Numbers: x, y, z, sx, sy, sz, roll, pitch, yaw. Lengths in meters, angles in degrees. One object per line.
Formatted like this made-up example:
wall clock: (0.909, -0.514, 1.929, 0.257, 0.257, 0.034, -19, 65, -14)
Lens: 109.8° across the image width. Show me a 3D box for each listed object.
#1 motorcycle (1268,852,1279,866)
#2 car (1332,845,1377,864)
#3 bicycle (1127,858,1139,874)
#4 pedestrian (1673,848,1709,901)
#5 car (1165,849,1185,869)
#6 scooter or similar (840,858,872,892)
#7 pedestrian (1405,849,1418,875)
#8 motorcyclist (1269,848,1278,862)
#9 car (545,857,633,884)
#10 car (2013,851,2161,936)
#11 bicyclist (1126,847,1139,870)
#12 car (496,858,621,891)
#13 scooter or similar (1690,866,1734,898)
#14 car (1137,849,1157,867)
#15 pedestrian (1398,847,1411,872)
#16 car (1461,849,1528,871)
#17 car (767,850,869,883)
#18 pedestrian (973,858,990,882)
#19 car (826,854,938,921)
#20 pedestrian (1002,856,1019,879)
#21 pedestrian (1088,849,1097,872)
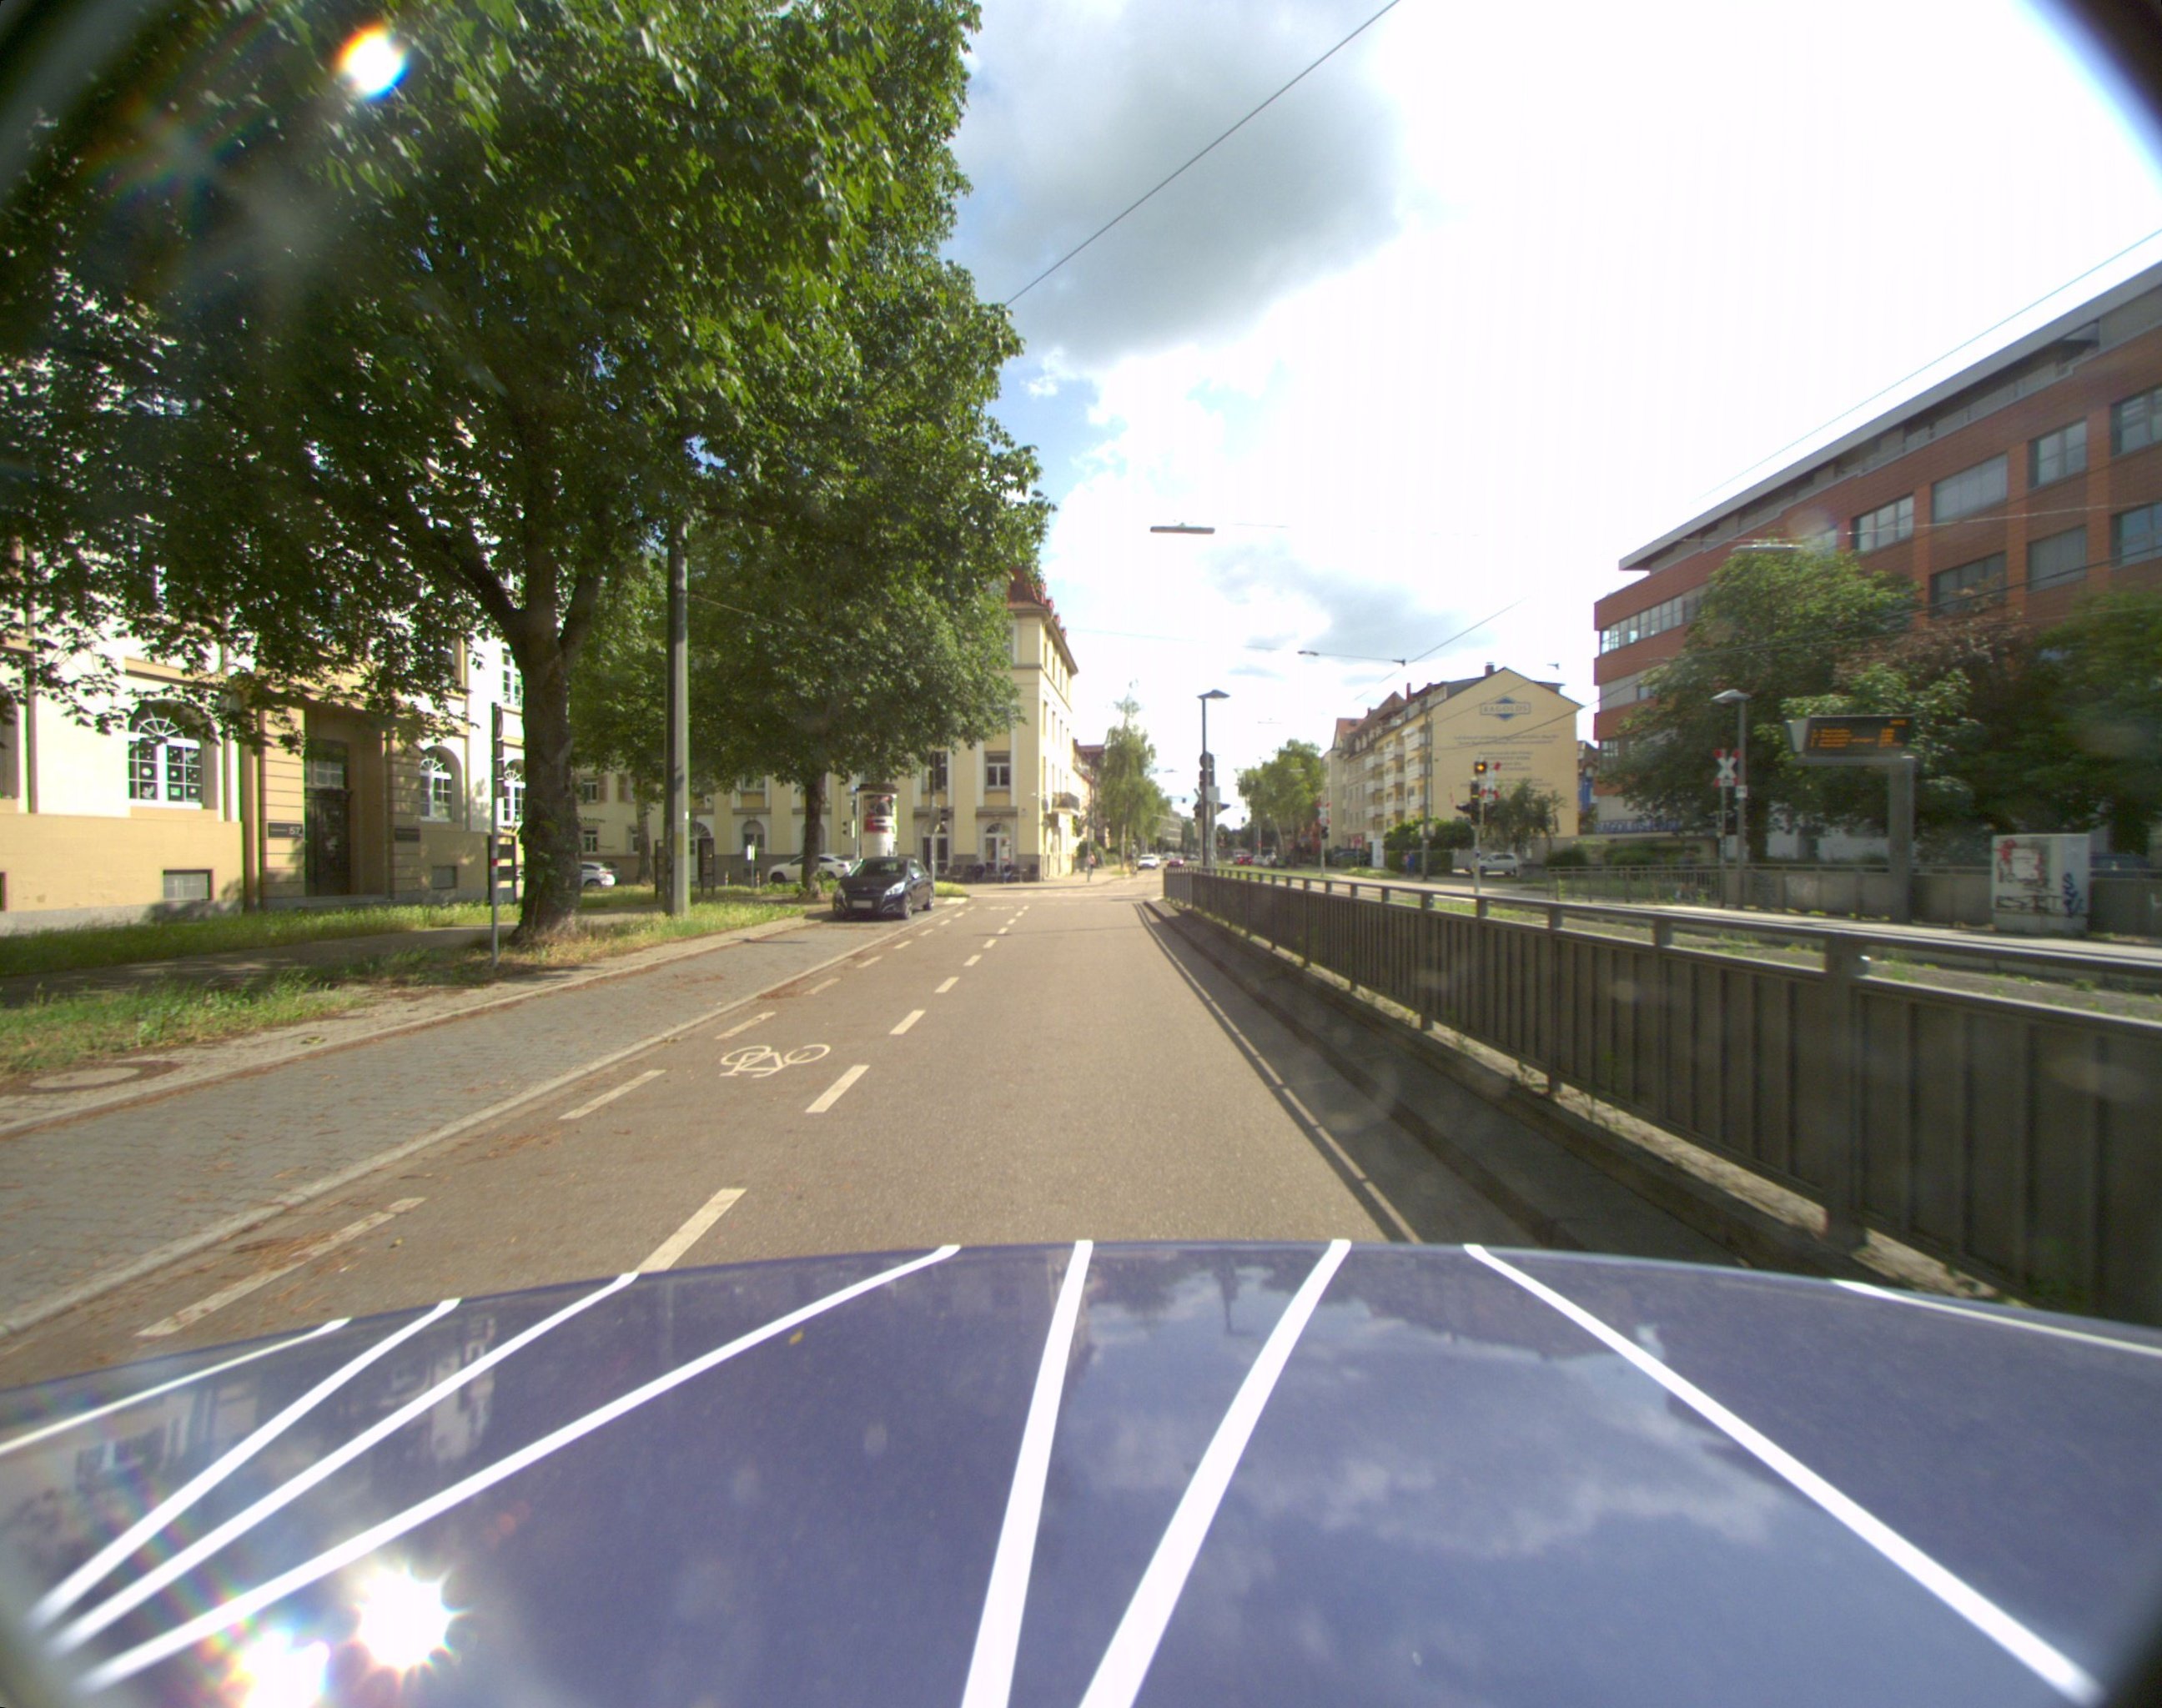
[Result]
motorcycle: (19.189, 0.482, 75.597, 0.634, 1.395, 2.010, -2, 1, 3)
car: (29.597, 0.017, 82.286, 4.255, 2.002, 2.001, 0, 1, 10)
bicycle: (3.759, 0.839, 54.855, 0.772, 1.097, 2.572, -3, -1, 4)
pedestrian: (20.804, 0.684, 25.918, 0.659, 1.782, 0.620, 1, 1, -5)
car: (10.128, 0.499, 81.906, 1.997, 2.002, 4.001, -2, 1, 7)
scooter or similar: (-8.419, 0.778, 28.436, 1.105, 1.234, 0.447, 0, 1, 23)
pedestrian: (21.819, 0.516, 50.173, 0.650, 1.700, 0.481, 0, 1, 1)
motorcyclist: (19.181, 0.095, 75.682, 0.663, 1.350, 0.693, -2, 2, 3)
car: (-27.955, 0.921, 43.209, 3.993, 1.417, 1.858, 0, 4, 12)
car: (22.001, 0.754, 16.692, 3.850, 1.649, 1.870, 0, 1, -39)
bicyclist: (3.717, 0.317, 54.892, 0.772, 1.664, 0.951, -3, 1, 5)
car: (-23.303, 0.883, 34.028, 1.852, 1.344, 4.188, 0, 0, 36)
scooter or similar: (21.506, 0.941, 25.916, 0.988, 1.049, 0.620, 1, 1, -5)
car: (6.679, 0.385, 76.746, 1.848, 1.606, 3.814, -2, 1, 3)
pedestrian: (22.899, 0.387, 53.828, 0.650, 1.700, 0.588, 0, 1, 1)
car: (27.903, 0.416, 51.345, 3.608, 1.470, 1.777, 0, -3, 7)
car: (-13.994, 0.656, 40.496, 4.828, 1.646, 1.858, 0, 2, 10)
pedestrian: (-5.484, 0.878, 41.977, 0.804, 1.281, 0.759, 0, 3, 3)
car: (-4.764, 0.736, 18.736, 1.689, 1.380, 3.923, 1, 1, 1)
pedestrian: (-3.952, 0.758, 42.415, 0.804, 1.238, 0.891, 0, 3, 3)
pedestrian: (0.813, 0.439, 53.798, 0.593, 1.623, 0.538, 3, 1, 3)
